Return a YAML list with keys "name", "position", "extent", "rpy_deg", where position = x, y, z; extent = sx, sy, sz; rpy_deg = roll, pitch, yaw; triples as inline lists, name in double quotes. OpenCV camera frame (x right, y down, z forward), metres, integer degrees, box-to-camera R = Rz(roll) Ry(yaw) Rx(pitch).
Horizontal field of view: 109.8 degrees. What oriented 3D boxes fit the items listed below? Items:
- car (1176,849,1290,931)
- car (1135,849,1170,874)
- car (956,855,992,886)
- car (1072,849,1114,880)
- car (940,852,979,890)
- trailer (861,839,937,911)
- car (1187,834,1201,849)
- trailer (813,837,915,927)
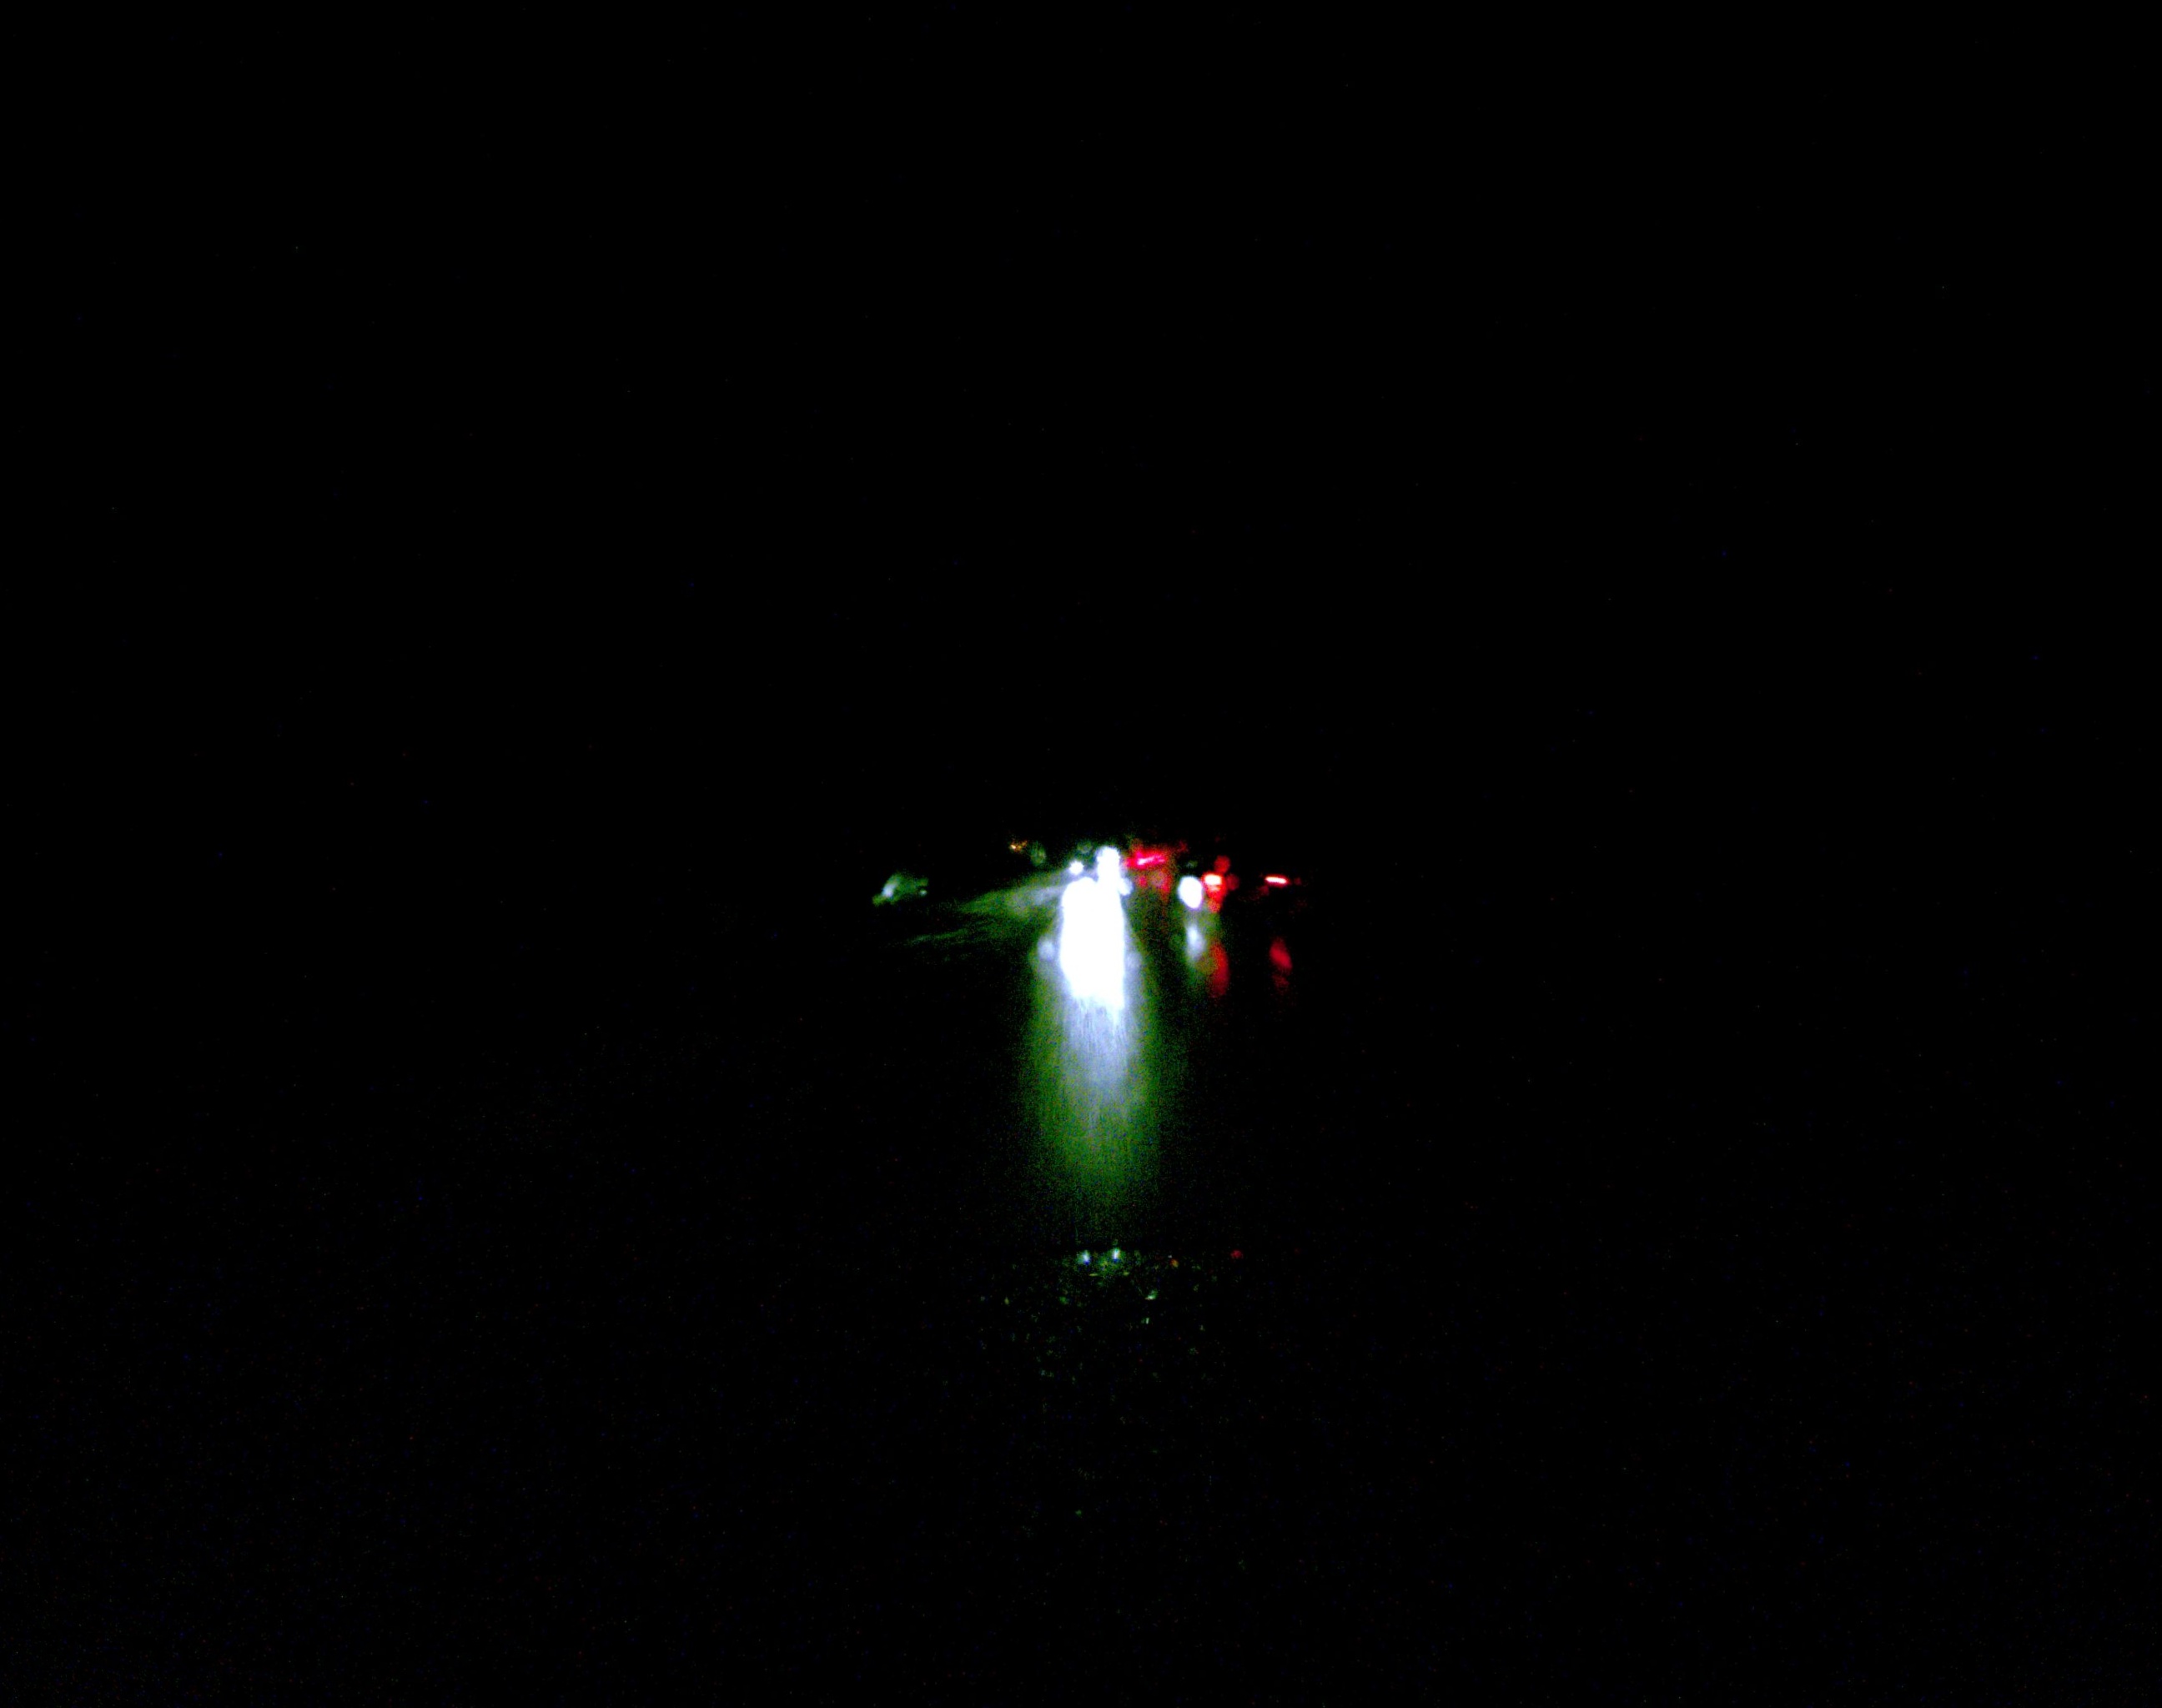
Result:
- name: "car"
  position: [3.306, 0.722, 17.192]
  extent: [1.806, 1.501, 3.614]
  rpy_deg: [-4, 1, 1]
- name: "car"
  position: [4.667, 0.455, 50.165]
  extent: [1.998, 1.451, 4.898]
  rpy_deg: [-2, 1, 2]
- name: "car"
  position: [-7.047, 1.052, 50.375]
  extent: [1.883, 1.799, 4.154]
  rpy_deg: [-4, 1, -3]
- name: "car"
  position: [0.698, 0.525, 40.564]
  extent: [1.998, 1.412, 4.000]
  rpy_deg: [-4, 1, 3]
- name: "car"
  position: [-7.261, 0.978, 45.832]
  extent: [1.883, 2.028, 4.388]
  rpy_deg: [-4, 1, -5]
- name: "trailer"
  position: [-6.716, 0.705, 28.556]
  extent: [1.609, 2.339, 4.430]
  rpy_deg: [-6, 1, -1]
- name: "car"
  position: [17.016, -1.832, 114.070]
  extent: [1.922, 2.045, 4.889]
  rpy_deg: [-4, 1, 9]
- name: "trailer"
  position: [-6.548, 0.761, 23.505]
  extent: [1.634, 2.351, 4.652]
  rpy_deg: [-6, 1, -1]
